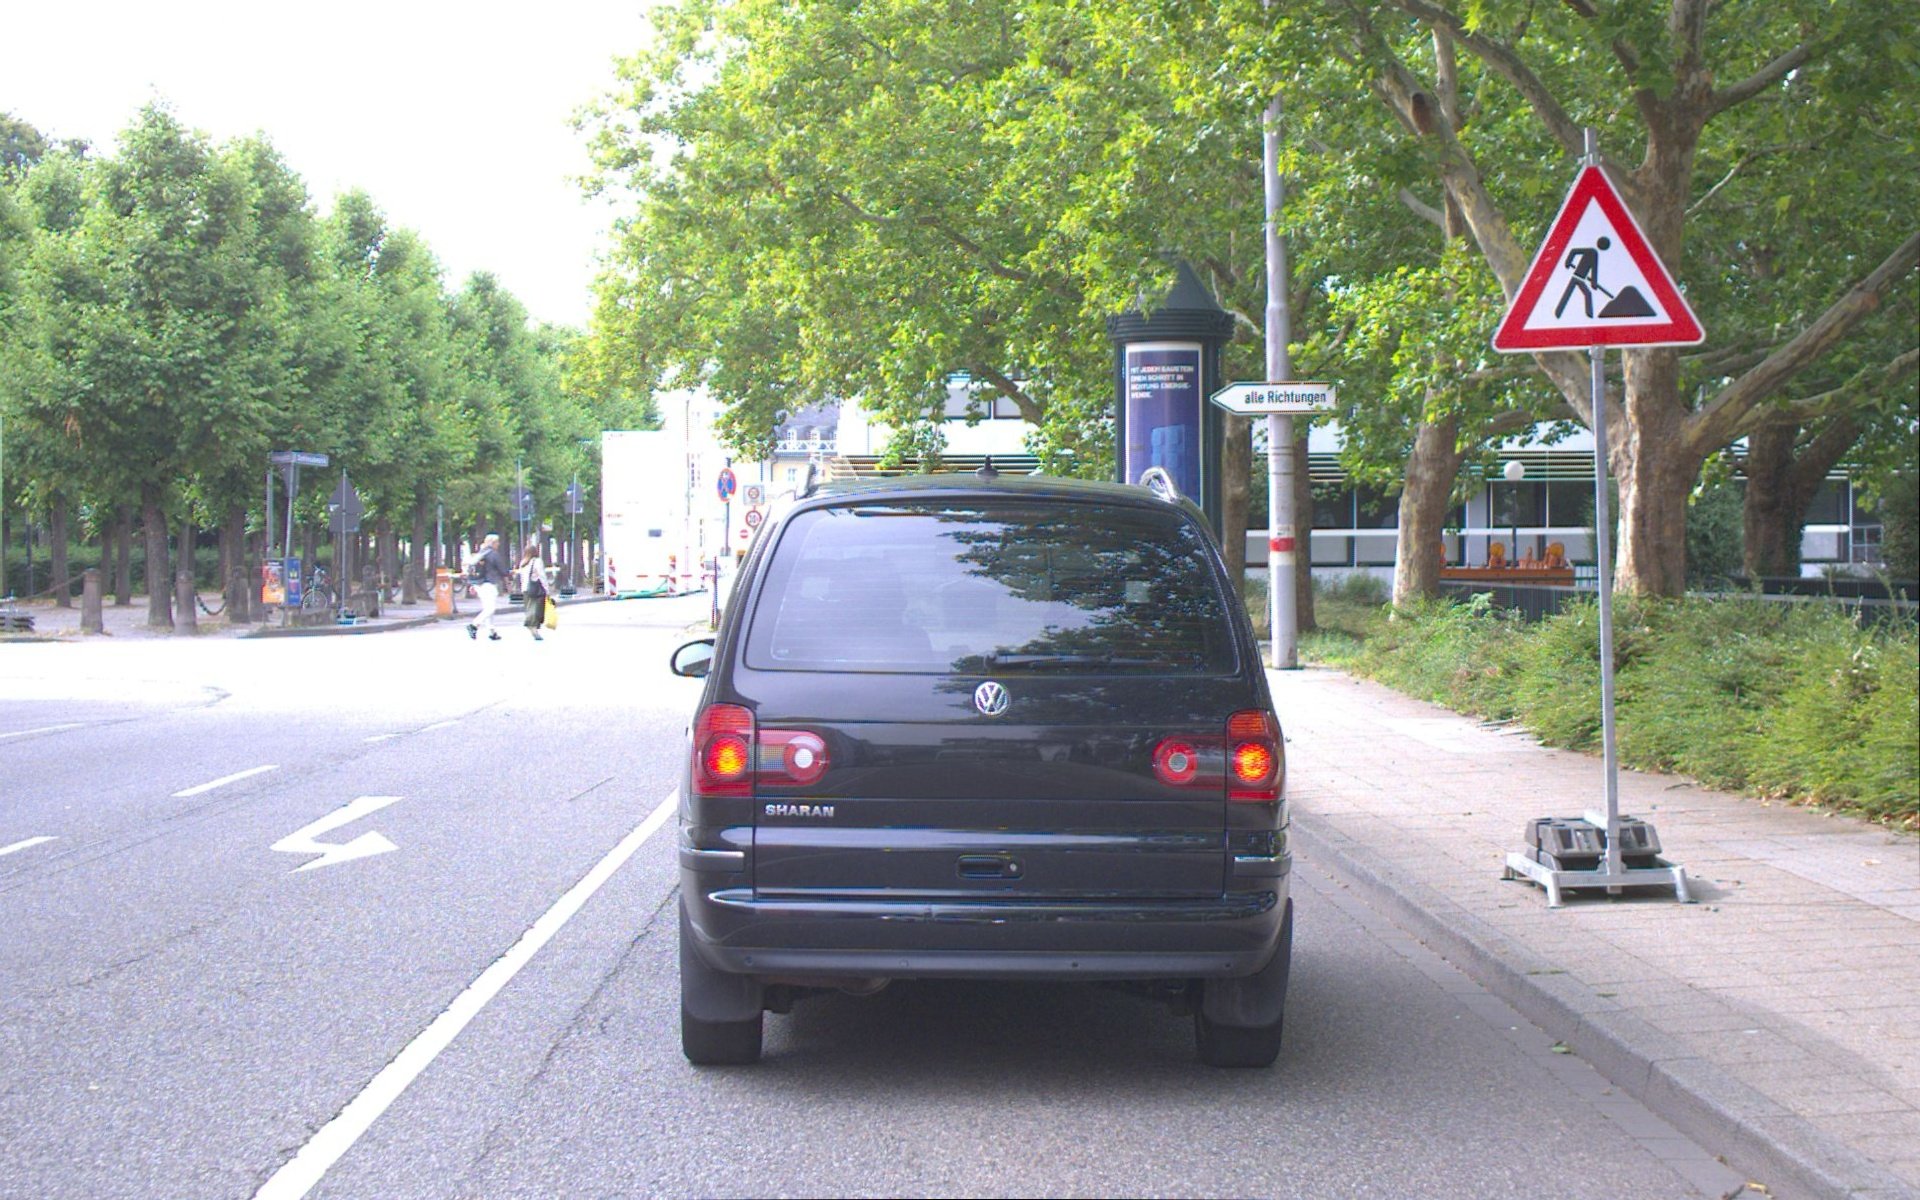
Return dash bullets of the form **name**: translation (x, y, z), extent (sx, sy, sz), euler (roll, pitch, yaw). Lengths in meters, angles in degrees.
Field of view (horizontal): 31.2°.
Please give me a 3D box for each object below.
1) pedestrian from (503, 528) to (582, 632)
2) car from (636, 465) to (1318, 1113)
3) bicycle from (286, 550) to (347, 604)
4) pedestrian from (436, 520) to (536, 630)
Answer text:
- **pedestrian**: translation (-6.708, -0.319, 55.189), extent (0.850, 1.635, 0.898), euler (0, 1, -44)
- **car**: translation (0.004, 0.458, 11.159), extent (1.793, 1.702, 4.131), euler (0, 1, -1)
- **bicycle**: translation (-13.831, -0.503, 73.828), extent (0.952, 1.106, 2.580), euler (1, 1, -18)
- **pedestrian**: translation (-7.659, -0.405, 55.556), extent (1.252, 1.735, 0.963), euler (0, 1, -44)
